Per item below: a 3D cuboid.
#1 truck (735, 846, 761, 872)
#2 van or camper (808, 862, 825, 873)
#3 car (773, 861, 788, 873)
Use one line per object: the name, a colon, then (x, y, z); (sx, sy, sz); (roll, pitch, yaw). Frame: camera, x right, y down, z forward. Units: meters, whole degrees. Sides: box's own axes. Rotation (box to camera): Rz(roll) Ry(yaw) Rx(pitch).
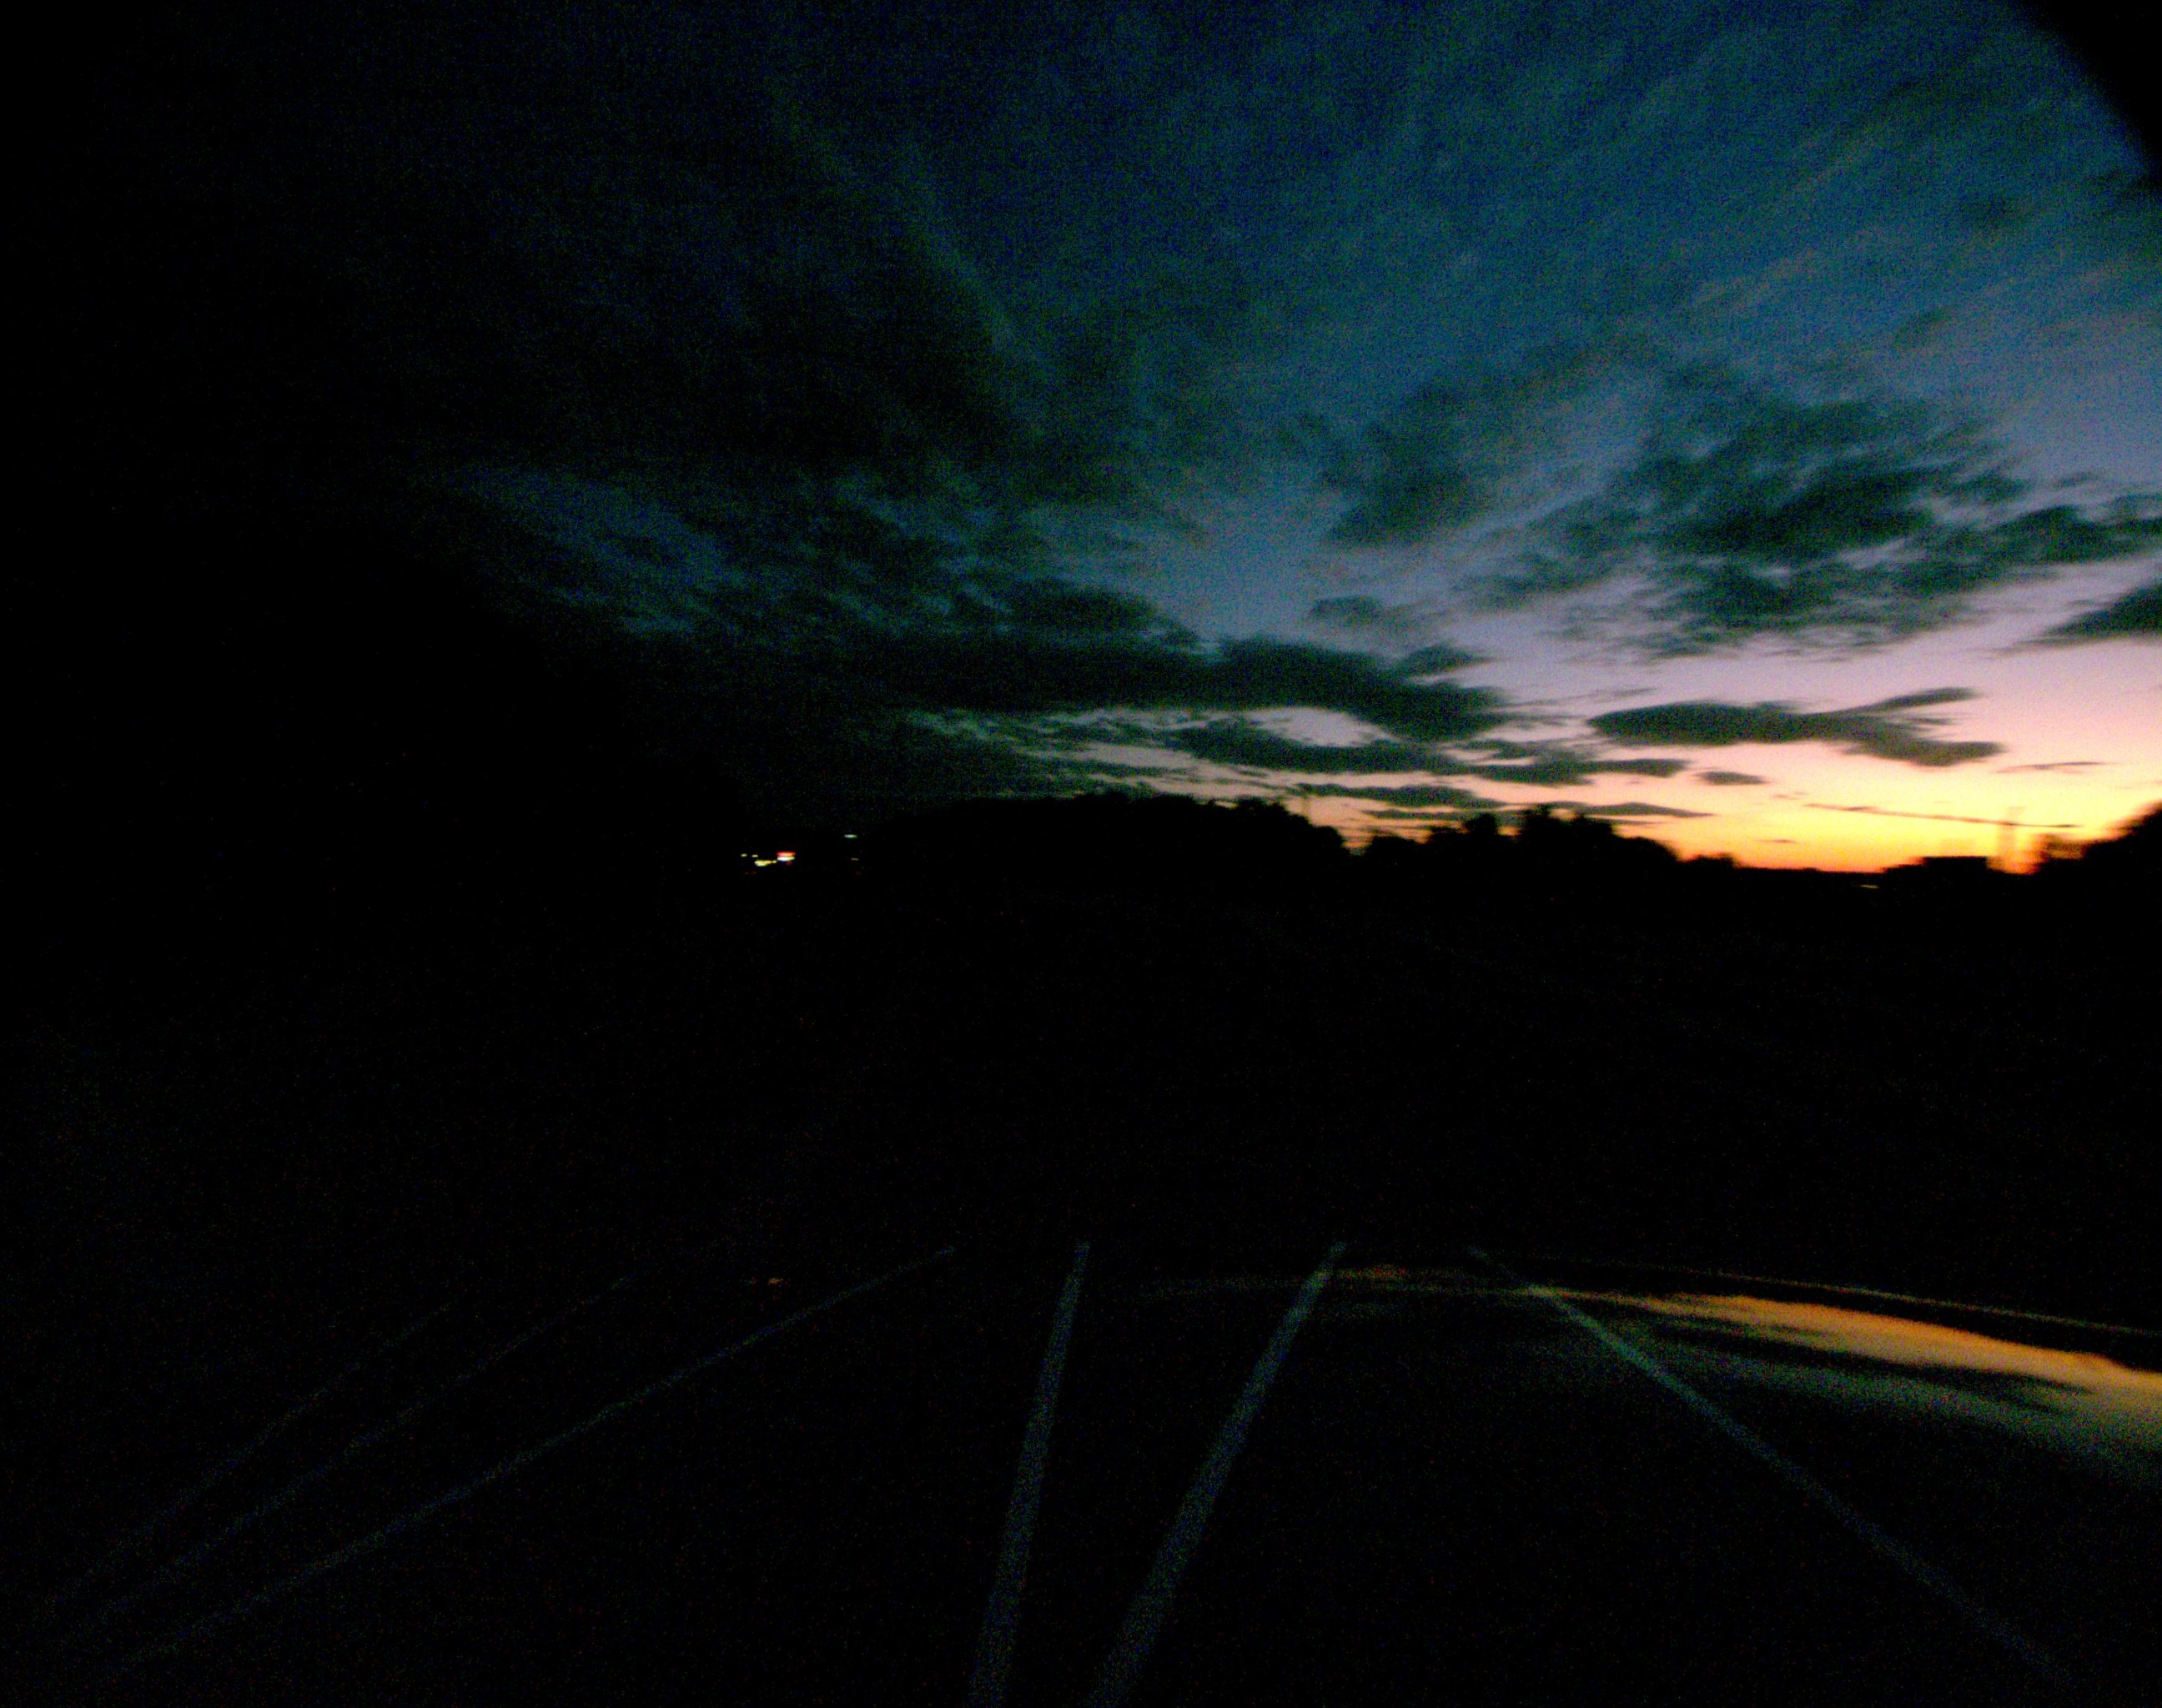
truck: (-60.663, 0.933, 138.394); (3.361, 4.291, 11.300); (4, -2, -28)
van or camper: (-65.086, 3.243, 187.024); (2.530, 2.579, 6.472); (3, -2, -32)
car: (-53.038, 2.266, 134.020); (2.004, 2.001, 3.991); (4, -2, -28)
